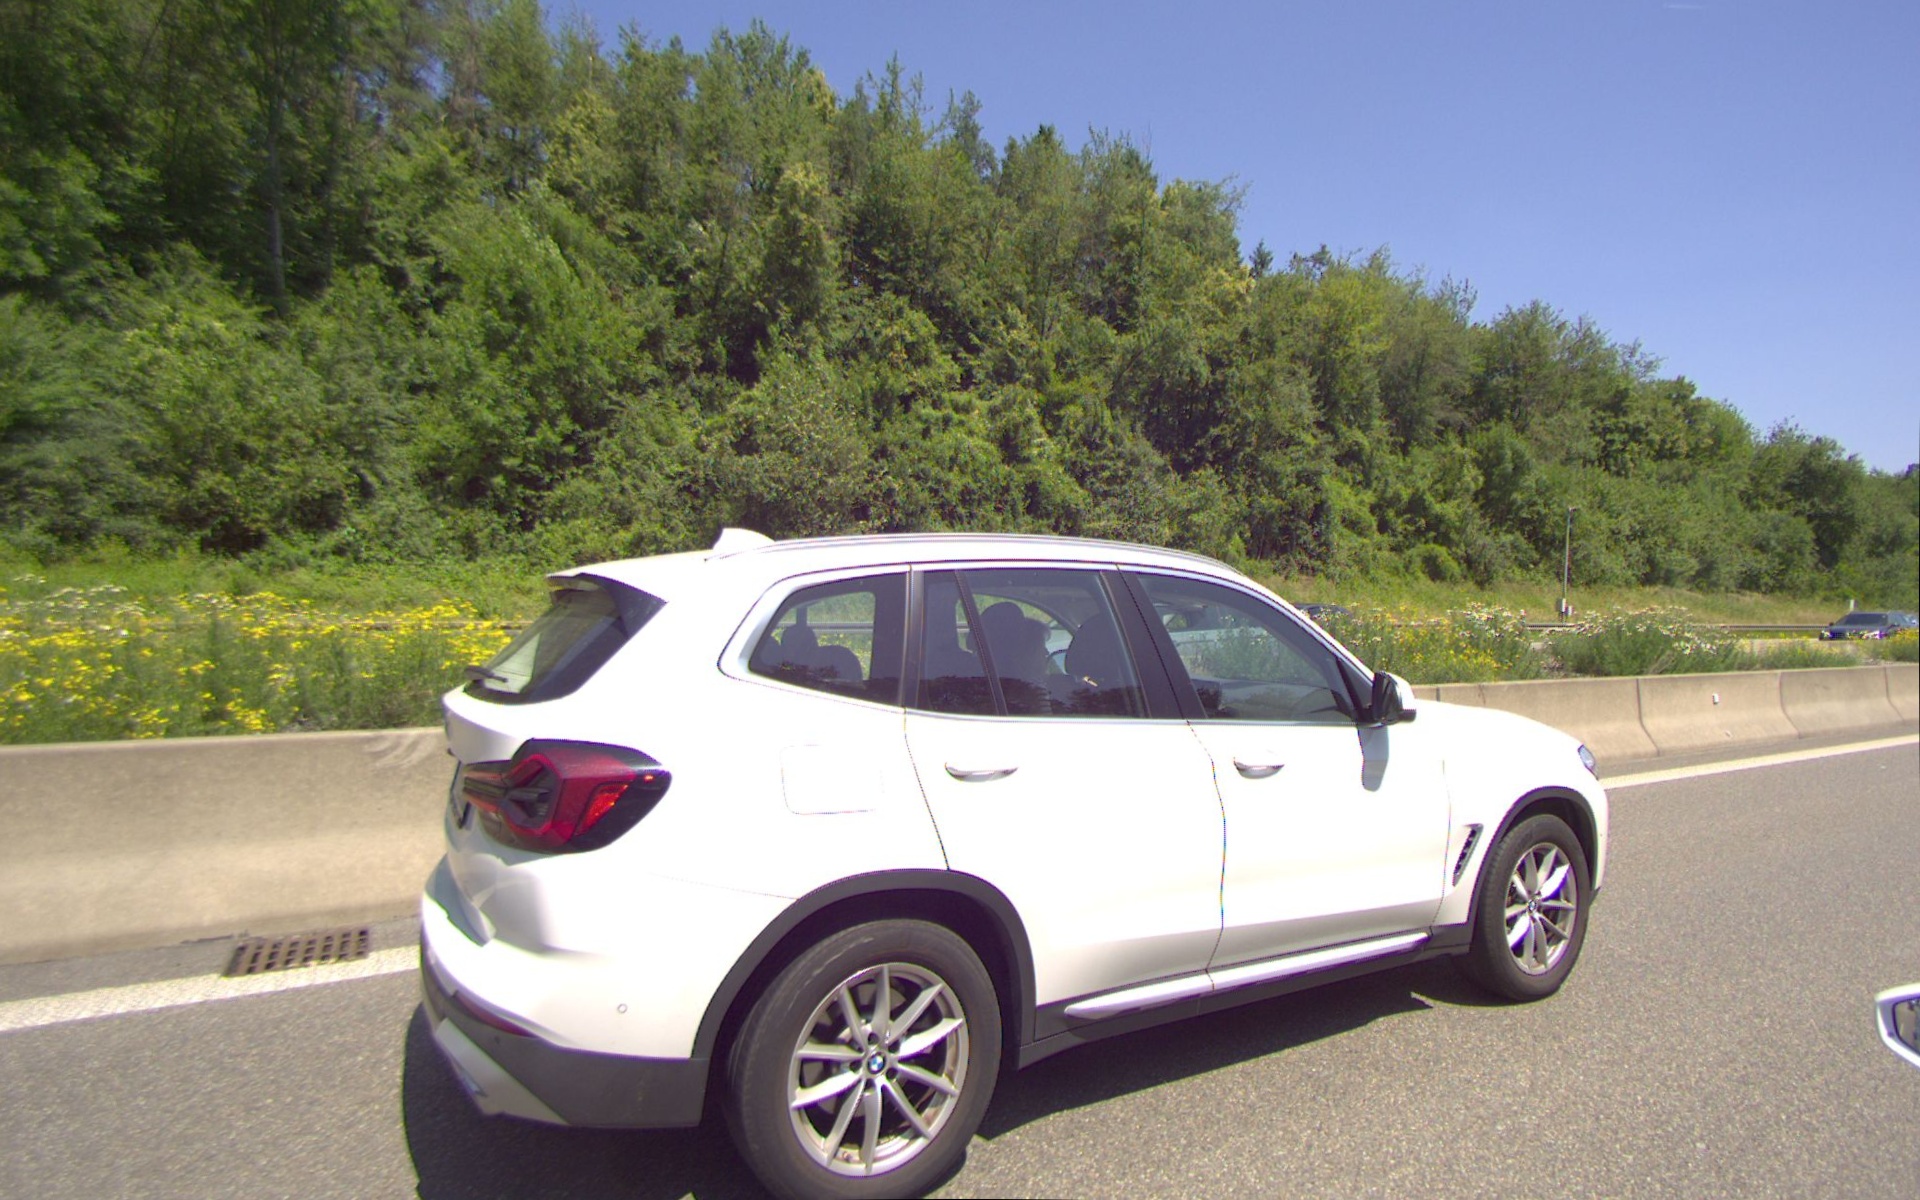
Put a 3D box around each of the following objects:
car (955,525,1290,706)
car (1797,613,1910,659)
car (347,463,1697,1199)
[{"bbox_3d":[2.149,0.242,13.191,3.951,2.040,1.985,2,-1,-29],"label":"car"},{"bbox_3d":[33.508,1.325,37.656,4.223,1.608,1.984,1,0,-31],"label":"car"},{"bbox_3d":[0.568,0.656,3.841,4.898,1.717,1.855,1,0,-30],"label":"car"}]
